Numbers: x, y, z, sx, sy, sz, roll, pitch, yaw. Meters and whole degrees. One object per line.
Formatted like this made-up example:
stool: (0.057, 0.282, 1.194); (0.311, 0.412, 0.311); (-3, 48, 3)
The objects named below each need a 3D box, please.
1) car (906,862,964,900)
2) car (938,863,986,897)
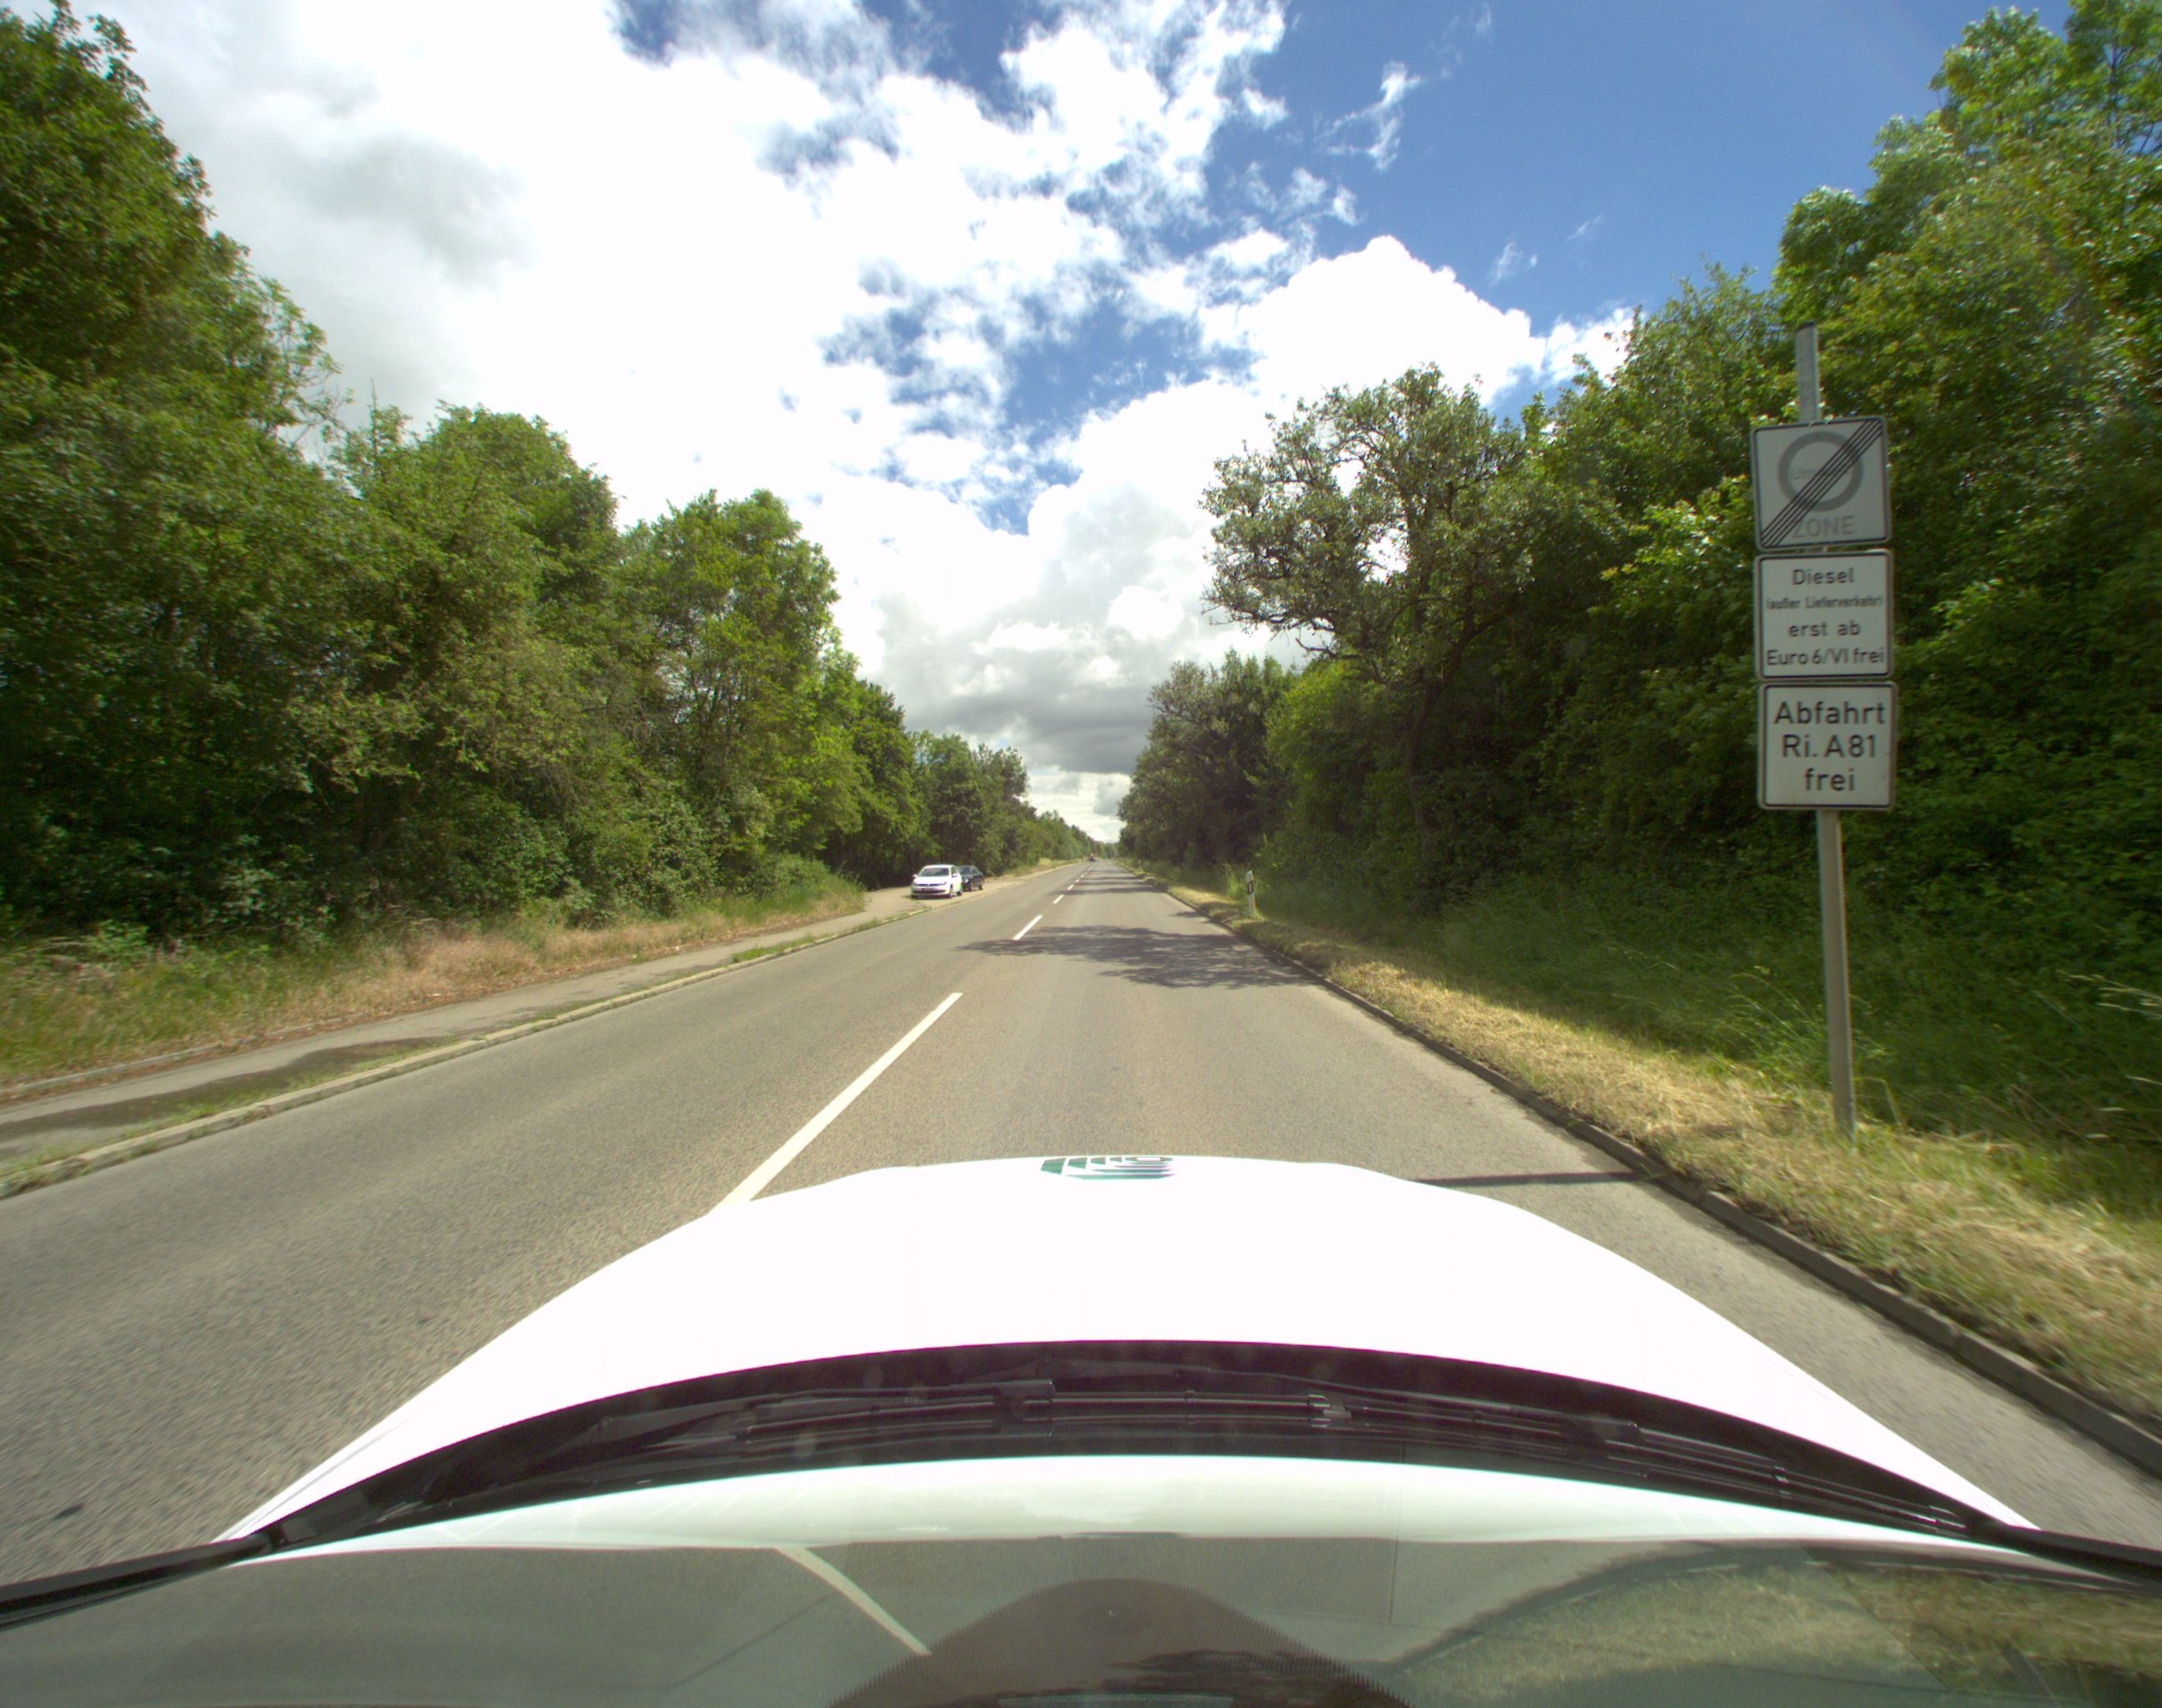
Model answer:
car: (-6.540, 1.206, 36.901); (1.791, 1.543, 3.956); (-2, -1, 1)
car: (-6.431, 1.383, 44.429); (1.791, 1.625, 3.958); (-2, 1, 3)
